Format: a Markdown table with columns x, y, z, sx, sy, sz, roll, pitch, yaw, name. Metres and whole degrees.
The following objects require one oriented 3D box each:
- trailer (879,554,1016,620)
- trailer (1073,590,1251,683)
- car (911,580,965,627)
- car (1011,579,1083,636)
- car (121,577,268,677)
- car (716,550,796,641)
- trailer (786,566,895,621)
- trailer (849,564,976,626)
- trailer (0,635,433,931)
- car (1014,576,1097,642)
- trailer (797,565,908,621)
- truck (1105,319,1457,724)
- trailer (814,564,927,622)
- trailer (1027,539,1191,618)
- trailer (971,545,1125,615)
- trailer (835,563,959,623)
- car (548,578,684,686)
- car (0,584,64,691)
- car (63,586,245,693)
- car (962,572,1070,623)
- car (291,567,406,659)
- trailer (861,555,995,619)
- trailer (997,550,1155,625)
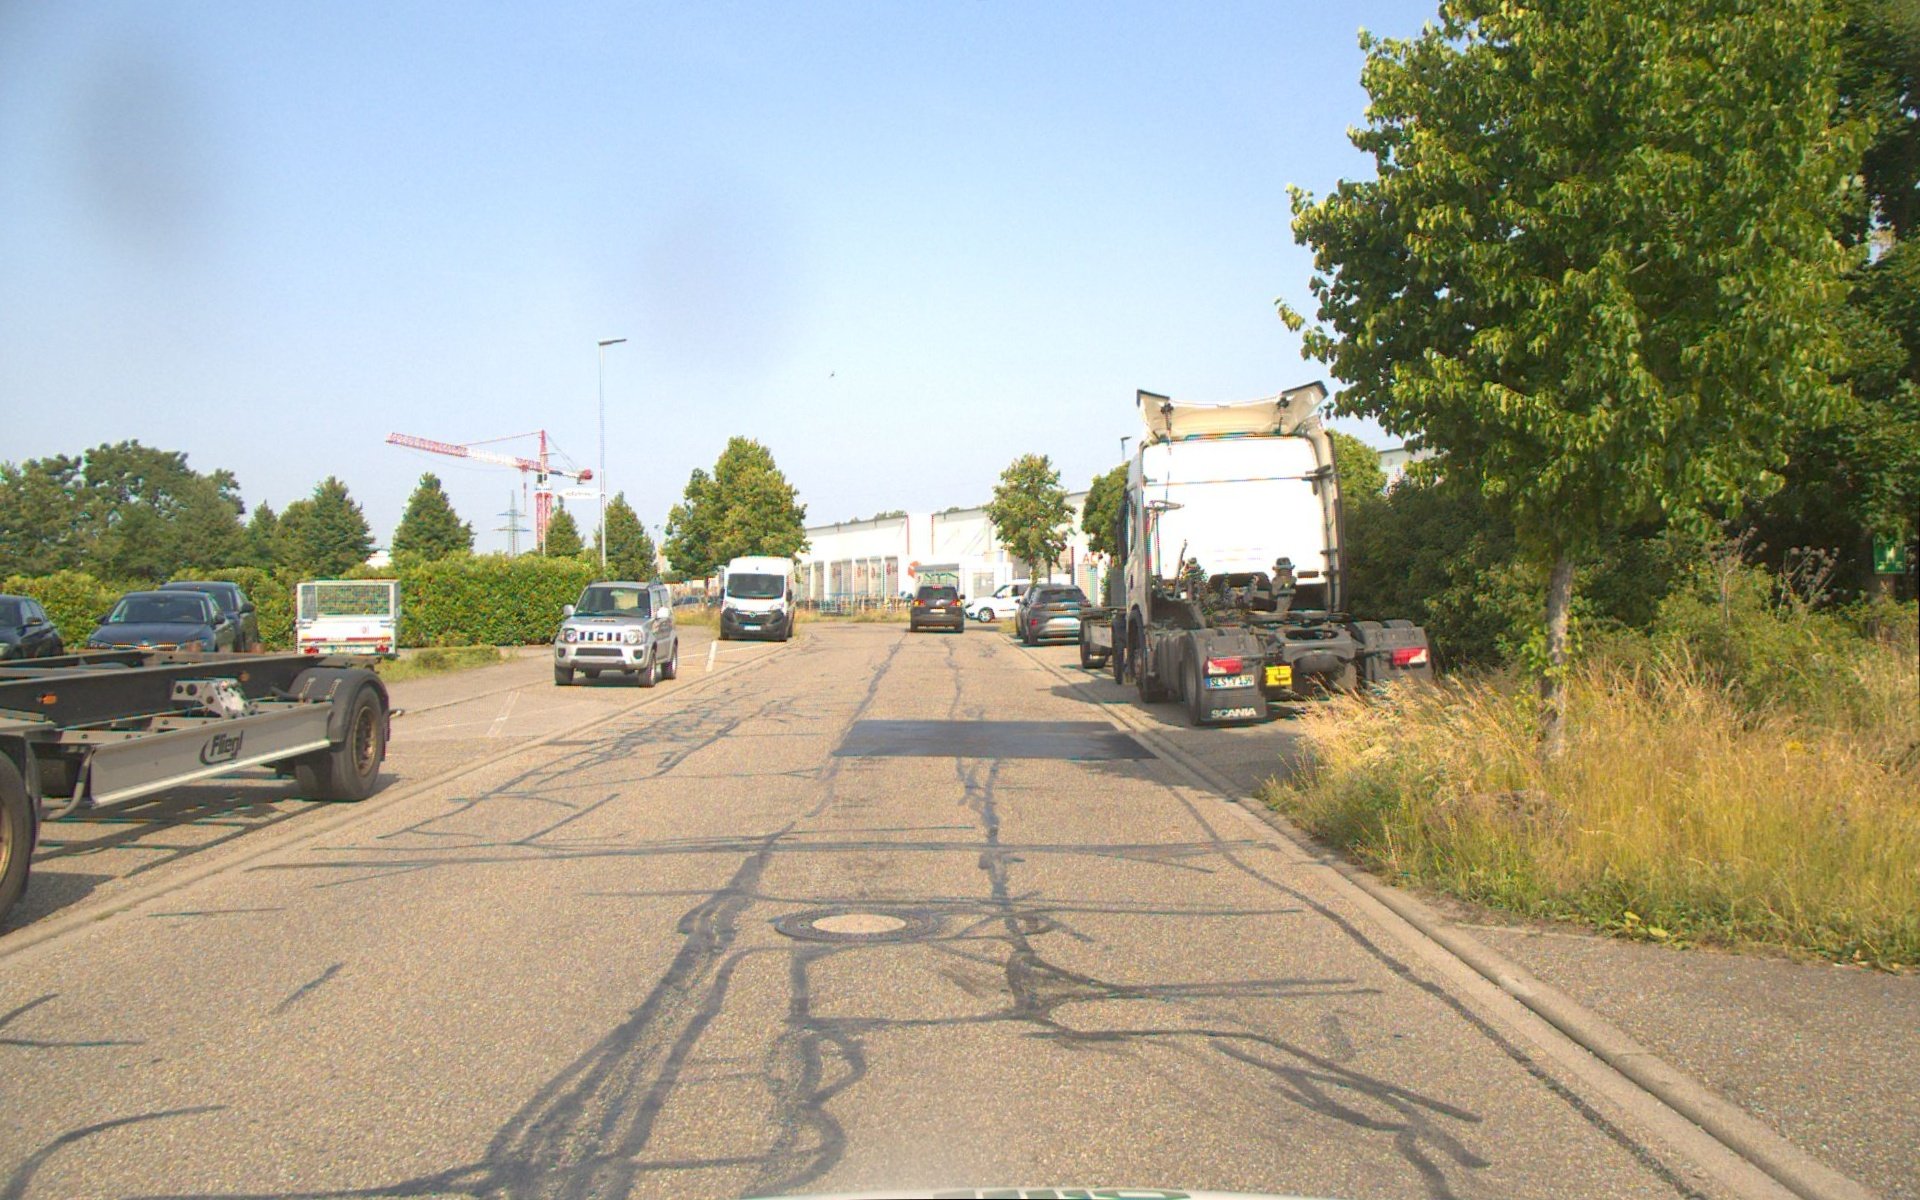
| x | y | z | sx | sy | sz | roll | pitch | yaw | name |
| --- | --- | --- | --- | --- | --- | --- | --- | --- | --- |
| -0.785 | -0.814 | 107.246 | 8.427 | 3.962 | 2.754 | 2 | 0 | -25 | trailer |
| 3.165 | 0.503 | 27.548 | 1.899 | 1.257 | 7.450 | -2 | 0 | -1 | trailer |
| -0.797 | 0.129 | 59.265 | 1.842 | 1.614 | 4.112 | 1 | 0 | -1 | car |
| 2.622 | 0.229 | 50.862 | 1.842 | 1.601 | 5.117 | -2 | 0 | -1 | car |
| -14.014 | 0.449 | 30.522 | 1.959 | 1.687 | 4.399 | 0 | 0 | -18 | car |
| -6.384 | -0.144 | 52.456 | 2.061 | 2.640 | 6.499 | 2 | 0 | -4 | car |
| -9.210 | -0.471 | 127.842 | 7.861 | 3.962 | 2.754 | 2 | 0 | -25 | trailer |
| -3.193 | -0.317 | 112.903 | 8.201 | 3.962 | 2.754 | 2 | 0 | -25 | trailer |
| -5.551 | 0.898 | 8.833 | 2.494 | 1.093 | 9.730 | 1 | 0 | -1 | trailer |
| 2.477 | 0.239 | 43.833 | 1.842 | 1.601 | 4.112 | -2 | 0 | -1 | car |
| -8.106 | -0.489 | 124.872 | 7.861 | 3.962 | 2.754 | 2 | 0 | -25 | trailer |
| 3.566 | -0.824 | 19.996 | 2.638 | 4.033 | 6.044 | -3 | 0 | -3 | truck |
| -6.611 | -0.514 | 122.266 | 7.861 | 3.962 | 2.754 | 2 | 0 | -25 | trailer |
| 7.977 | -1.100 | 88.411 | 8.418 | 3.962 | 2.756 | 0 | -3 | -23 | trailer |
| 5.109 | -1.082 | 95.096 | 8.619 | 3.827 | 2.769 | 0 | -1 | -25 | trailer |
| -4.363 | -0.466 | 115.712 | 8.201 | 3.962 | 2.754 | 2 | 0 | -25 | trailer |
| -5.702 | 0.480 | 27.806 | 1.564 | 1.680 | 3.643 | 0 | 0 | -1 | car |
| -14.833 | 0.520 | 25.001 | 1.654 | 1.502 | 4.325 | 0 | 0 | -20 | car |
| -12.361 | 0.547 | 25.631 | 1.945 | 1.502 | 4.399 | 0 | 0 | -18 | car |
| 2.418 | -0.089 | 72.137 | 4.517 | 2.147 | 2.127 | -1 | -1 | -3 | car |
| -11.422 | 0.235 | 31.100 | 1.805 | 1.599 | 3.798 | 1 | 0 | -18 | car |
| -2.105 | -0.827 | 110.120 | 8.427 | 3.962 | 2.754 | 2 | 0 | -25 | trailer |
| 6.469 | -0.706 | 91.915 | 8.422 | 3.962 | 2.756 | -1 | 0 | -24 | trailer |
